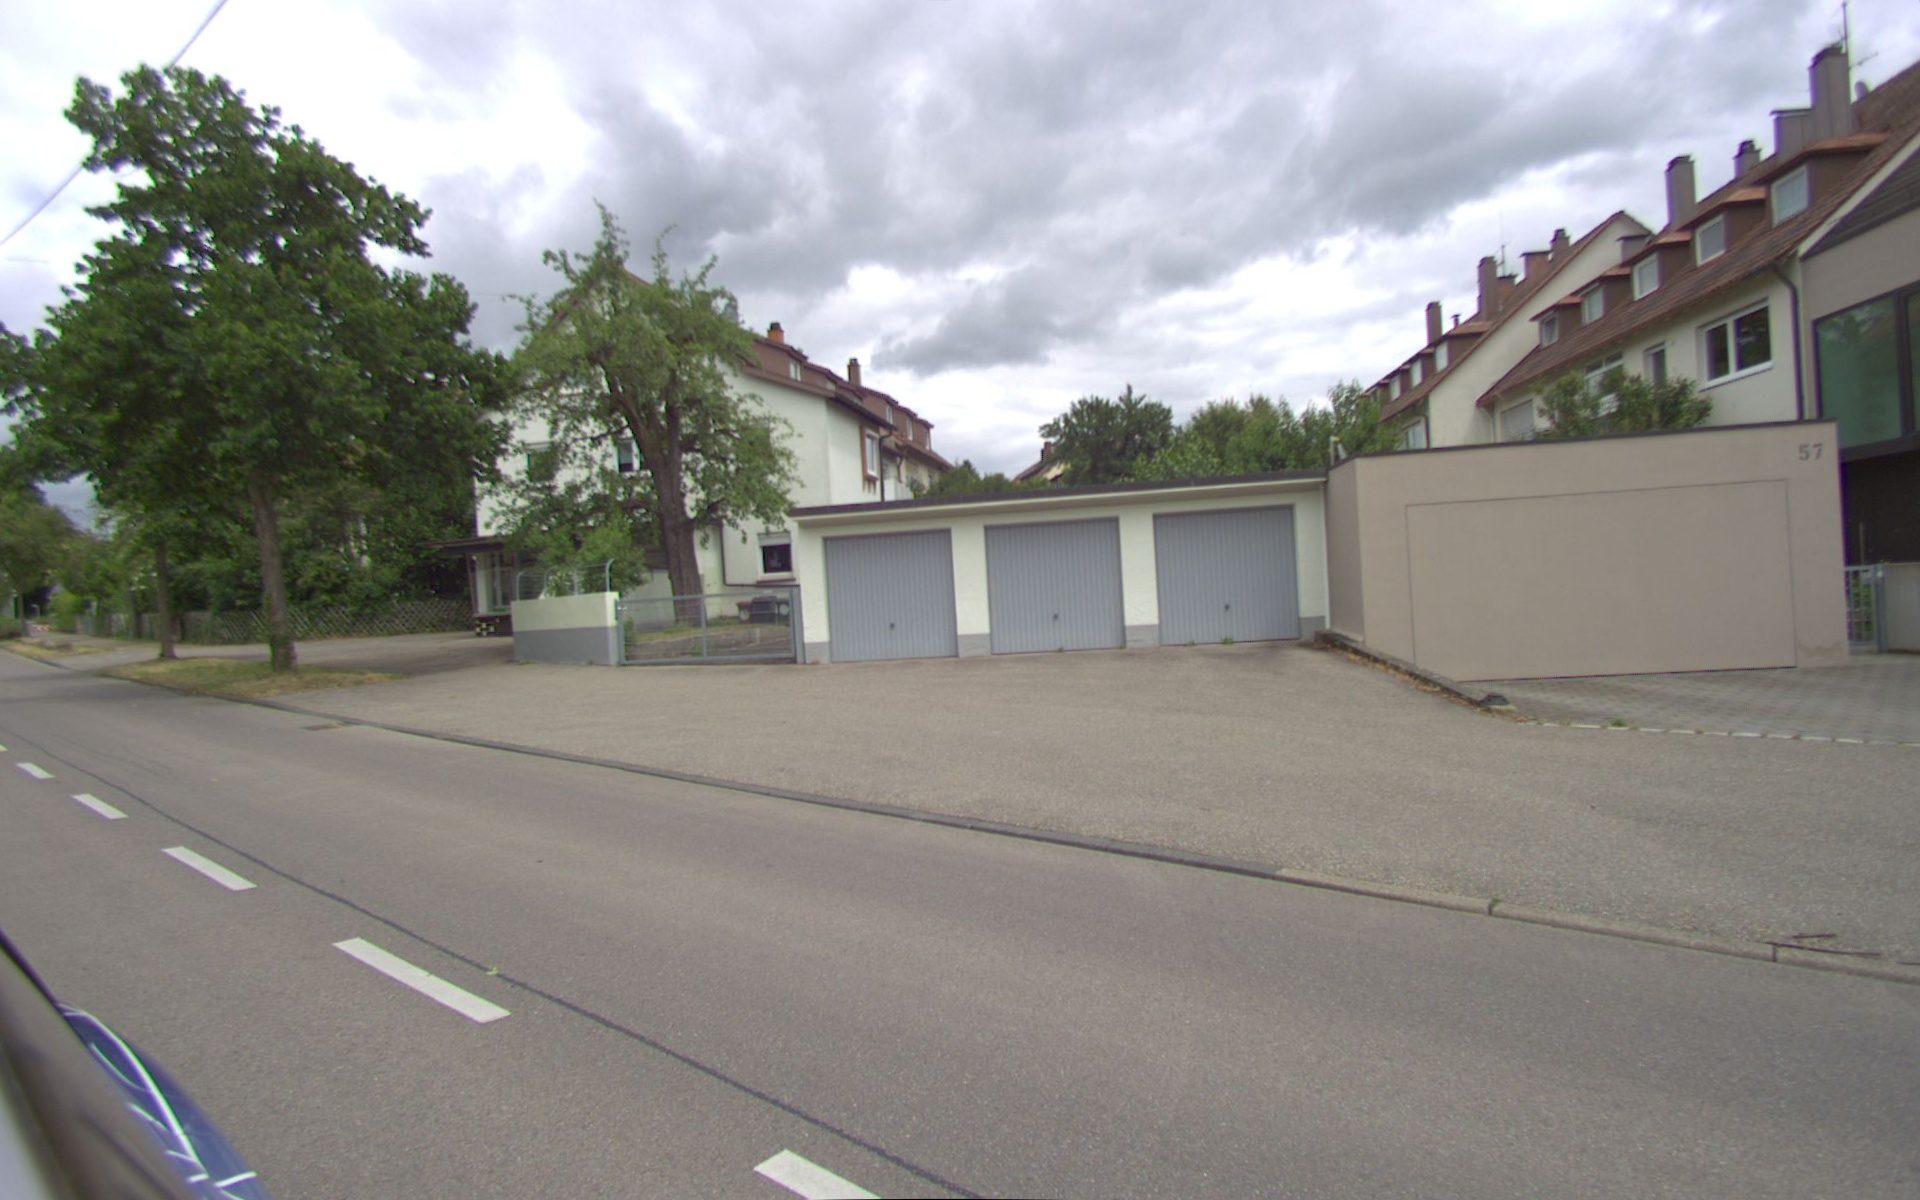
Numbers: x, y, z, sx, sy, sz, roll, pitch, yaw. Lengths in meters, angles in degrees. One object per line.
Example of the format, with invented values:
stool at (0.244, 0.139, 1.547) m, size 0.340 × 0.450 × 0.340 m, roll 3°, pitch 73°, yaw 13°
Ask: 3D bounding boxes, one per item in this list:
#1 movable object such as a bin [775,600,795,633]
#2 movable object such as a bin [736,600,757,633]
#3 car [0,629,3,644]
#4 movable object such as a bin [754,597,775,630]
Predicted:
movable object such as a bin at (-4.824, 0.442, 27.935) m, size 0.385 × 0.888 × 0.457 m, roll -2°, pitch 0°, yaw 11°
movable object such as a bin at (-5.983, 0.454, 28.370) m, size 0.385 × 0.888 × 0.457 m, roll -2°, pitch 0°, yaw 11°
car at (-95.385, 3.638, 97.798) m, size 1.777 × 1.420 × 3.994 m, roll -2°, pitch 0°, yaw 5°
movable object such as a bin at (-5.432, 0.370, 28.122) m, size 0.385 × 0.888 × 0.457 m, roll -2°, pitch 0°, yaw 11°
